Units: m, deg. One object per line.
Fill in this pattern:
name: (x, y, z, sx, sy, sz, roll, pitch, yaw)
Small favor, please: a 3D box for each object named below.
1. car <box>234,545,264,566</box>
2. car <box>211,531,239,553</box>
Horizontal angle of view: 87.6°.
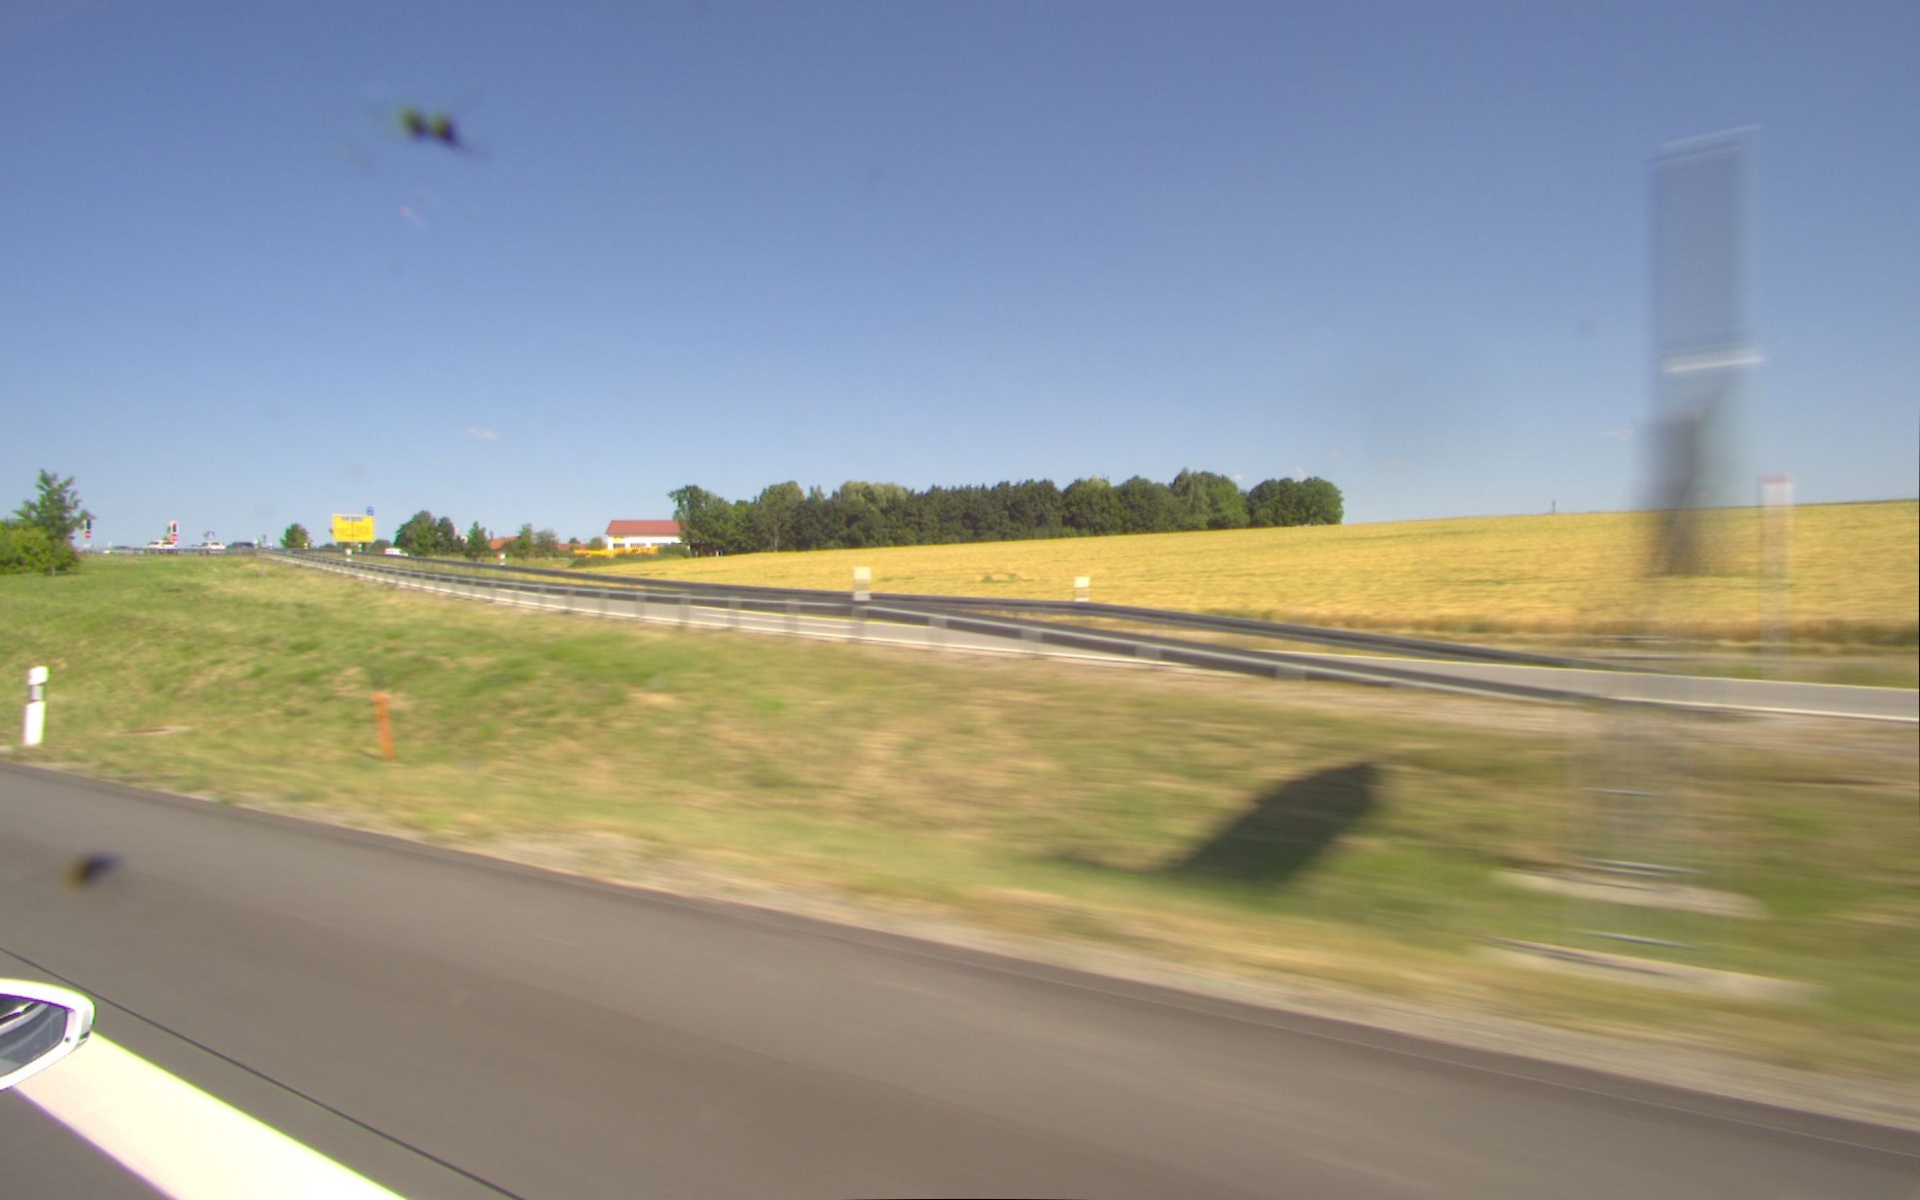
car: (-72.620, -4.530, 102.211, 1.979, 2.041, 3.962, -2, 1, -43)
car: (-78.737, -6.218, 107.316, 1.980, 2.040, 3.962, 0, 0, -43)
